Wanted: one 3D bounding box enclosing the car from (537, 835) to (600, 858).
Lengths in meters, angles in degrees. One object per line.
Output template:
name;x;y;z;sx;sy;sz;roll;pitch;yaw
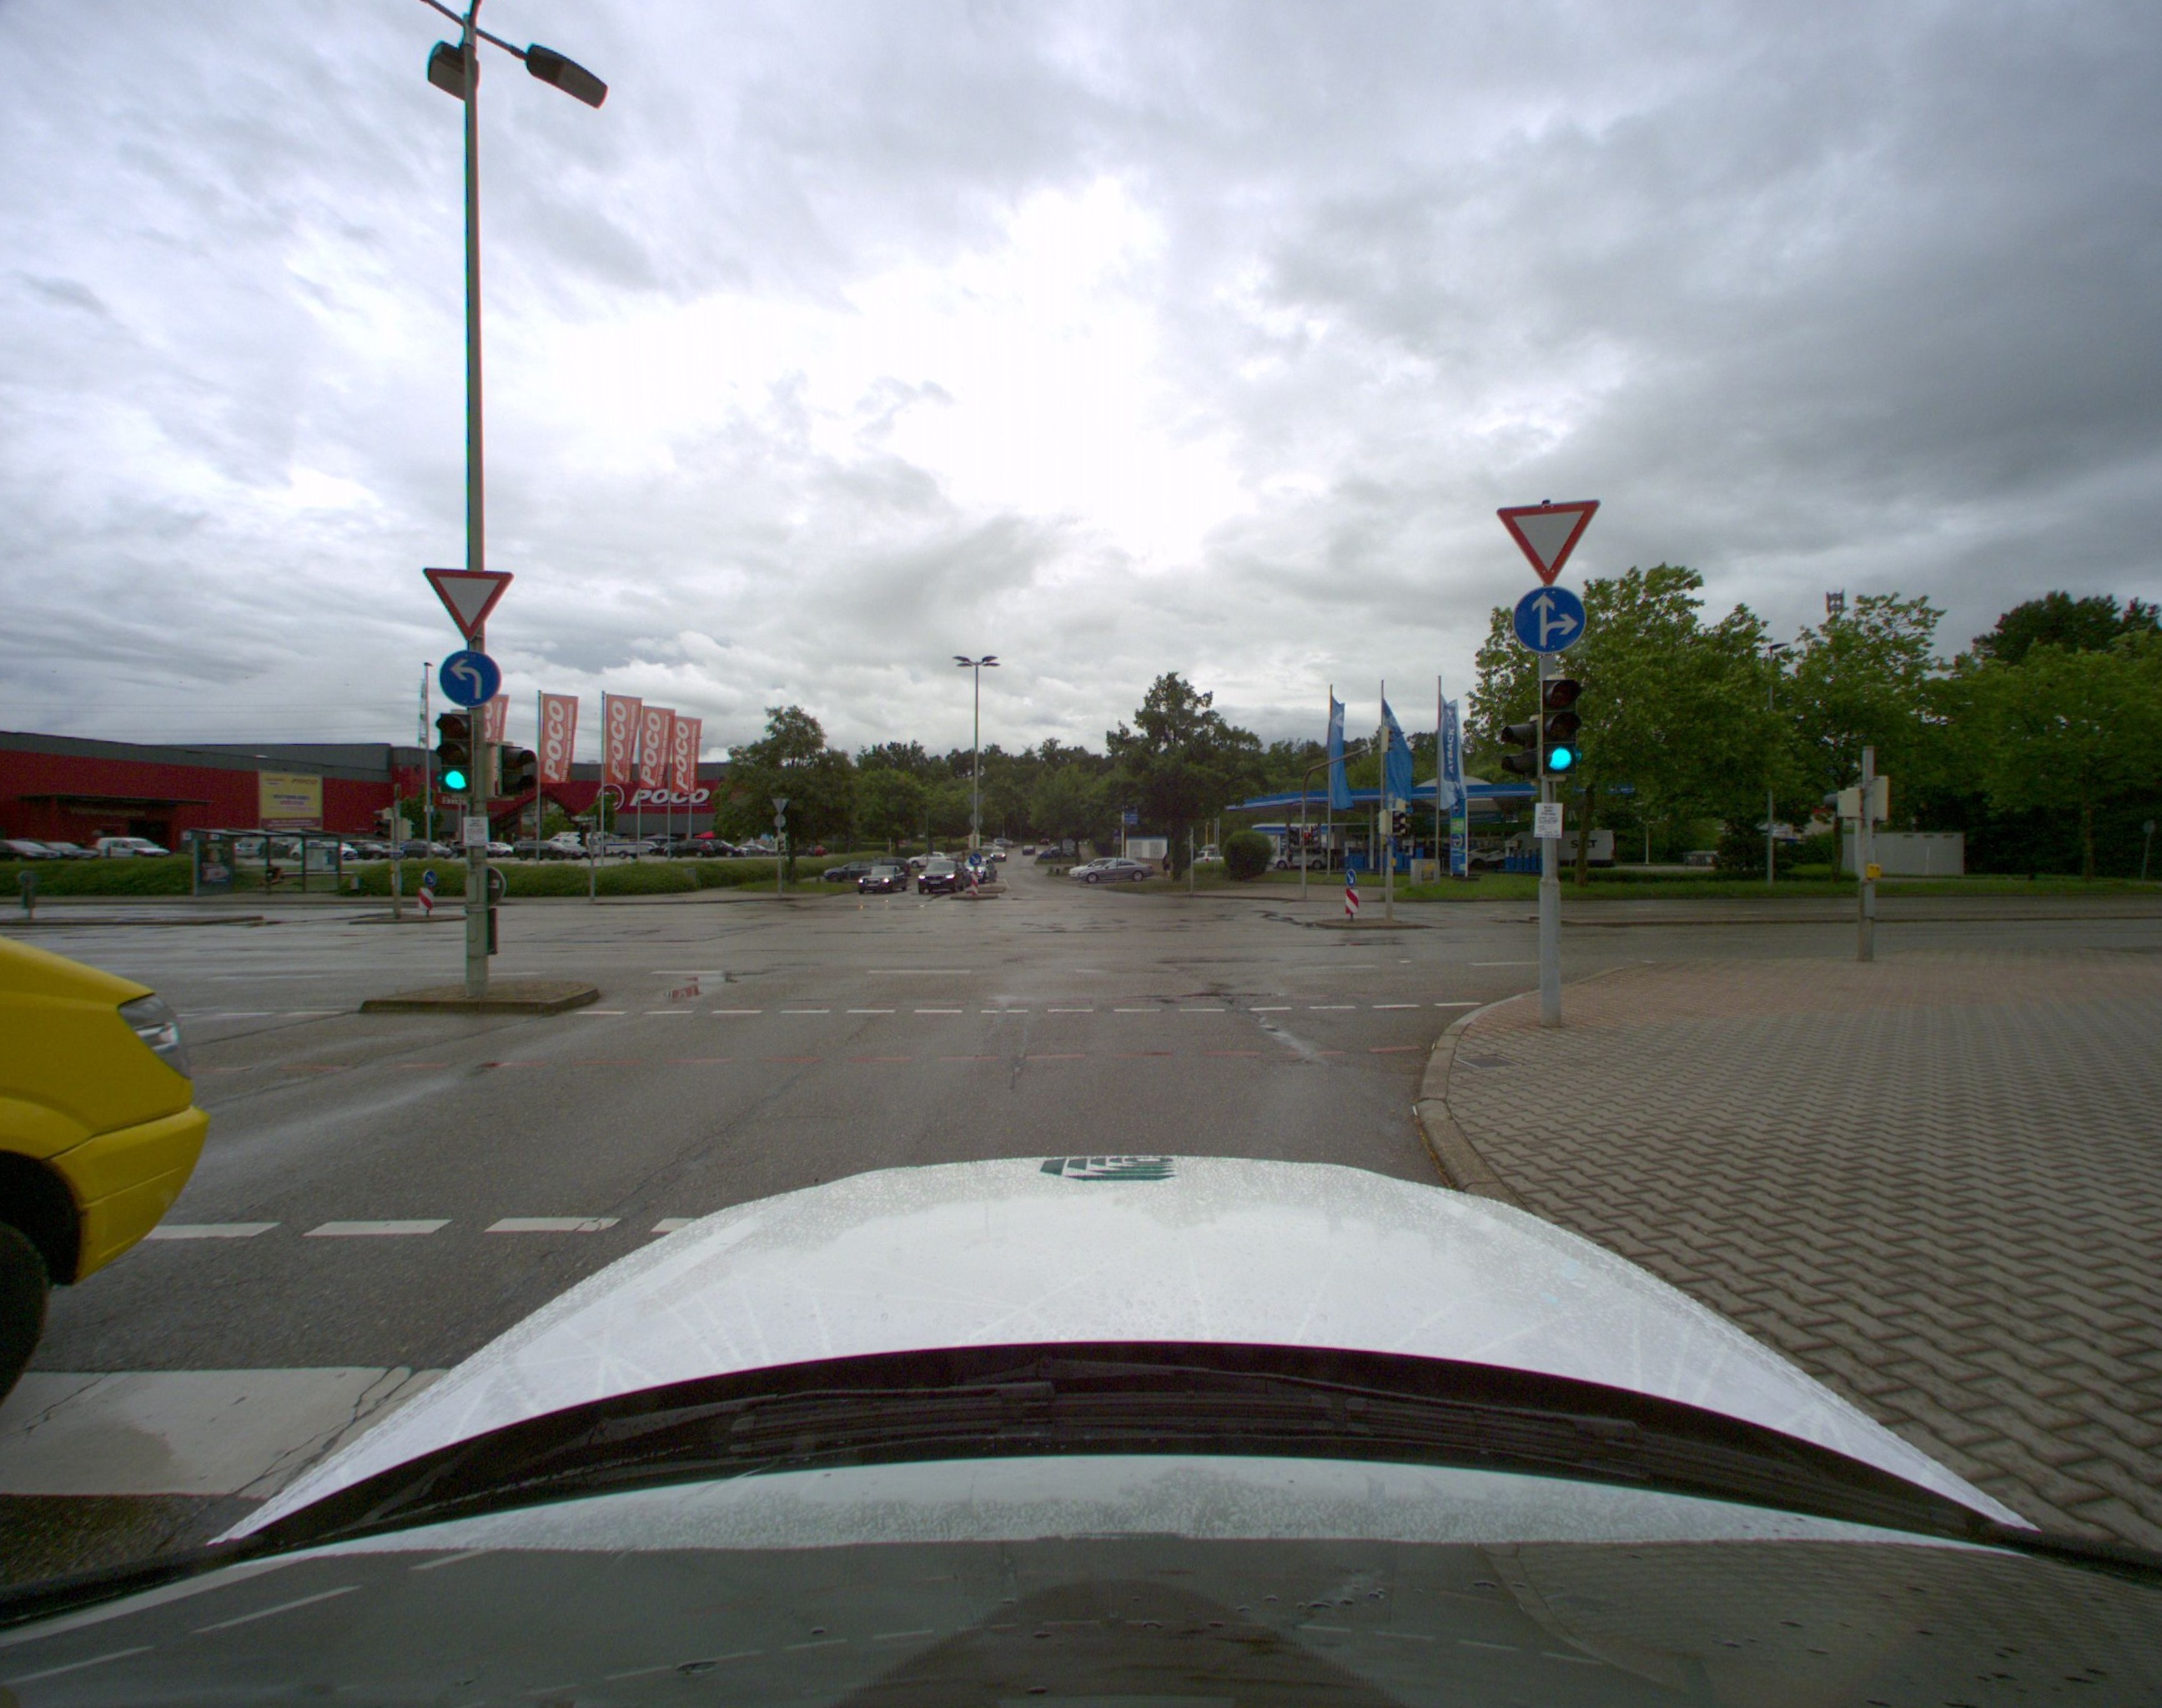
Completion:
car;-39.497;-0.556;62.815;3.798;1.645;1.633;-1;-1;3

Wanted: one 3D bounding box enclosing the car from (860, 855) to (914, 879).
car;-14.397;0.992;60.473;3.643;1.724;1.682;-1;-1;-5

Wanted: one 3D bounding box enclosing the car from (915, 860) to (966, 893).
car;-7.058;1.088;41.406;1.890;1.553;4.589;-1;-1;-1

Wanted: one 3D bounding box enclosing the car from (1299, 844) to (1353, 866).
car;20.210;0.062;67.124;3.949;1.728;1.806;-1;-1;29

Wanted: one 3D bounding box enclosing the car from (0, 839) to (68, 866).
car;-66.660;-0.085;51.207;3.933;1.645;1.699;-1;-1;3

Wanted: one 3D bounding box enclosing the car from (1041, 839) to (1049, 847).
car;-8.087;-2.379;181.997;1.800;1.739;3.996;-1;-1;-3

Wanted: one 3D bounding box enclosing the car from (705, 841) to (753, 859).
car;-33.493;-0.378;77.448;3.798;1.645;1.674;-1;-1;3

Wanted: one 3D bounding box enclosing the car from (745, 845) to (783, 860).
car;-36.712;-0.175;94.342;3.798;1.645;1.674;-1;-1;3

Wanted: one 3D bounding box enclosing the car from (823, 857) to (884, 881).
car;-15.301;1.017;54.877;3.643;1.553;1.682;-1;-1;-5

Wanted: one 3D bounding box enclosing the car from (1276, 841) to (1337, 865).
car;17.362;-0.061;62.720;4.075;1.808;1.958;-1;-1;35

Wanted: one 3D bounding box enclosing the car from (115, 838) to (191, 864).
car;-70.495;-0.202;61.891;3.724;1.926;1.792;-1;-1;1

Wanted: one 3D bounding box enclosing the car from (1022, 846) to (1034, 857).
car;-7.860;-0.366;121.006;1.804;1.482;3.745;-1;-1;-4

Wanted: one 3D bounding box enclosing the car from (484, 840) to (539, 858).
car;-52.924;-0.433;75.757;3.933;1.645;1.674;-1;-1;3

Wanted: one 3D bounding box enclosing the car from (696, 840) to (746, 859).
car;-33.013;-0.414;74.678;3.798;1.645;1.674;-1;-1;3

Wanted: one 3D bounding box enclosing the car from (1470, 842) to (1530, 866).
car;28.981;-0.034;56.388;3.517;1.582;1.700;1;0;33

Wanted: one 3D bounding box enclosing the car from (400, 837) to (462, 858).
car;-54.306;-0.527;68.087;3.933;1.645;1.674;-1;-1;3

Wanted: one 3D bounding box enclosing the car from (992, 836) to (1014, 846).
car;-14.900;-2.466;155.282;3.974;1.794;1.856;-1;-1;-1

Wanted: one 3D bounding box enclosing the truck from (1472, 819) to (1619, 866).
truck;28.844;-0.636;50.956;7.774;2.675;2.168;-2;-1;27

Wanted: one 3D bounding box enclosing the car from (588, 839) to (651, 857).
car;-35.532;-0.453;62.701;3.880;1.381;1.674;-1;-1;3

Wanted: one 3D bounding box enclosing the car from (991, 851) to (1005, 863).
car;-10.091;0.356;99.118;1.694;1.456;3.666;-1;-1;-5

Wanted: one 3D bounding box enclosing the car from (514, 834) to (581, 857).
car;-39.170;-0.595;59.845;3.798;1.645;1.674;-1;-1;3

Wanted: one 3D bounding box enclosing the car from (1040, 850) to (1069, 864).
car;-3.117;0.403;95.871;3.452;1.654;1.614;0;-1;-4

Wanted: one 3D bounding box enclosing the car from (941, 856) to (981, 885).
car;-7.209;1.007;49.262;1.790;1.633;4.549;-1;-1;-1

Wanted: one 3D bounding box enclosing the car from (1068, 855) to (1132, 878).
car;1.381;0.925;59.857;4.565;1.589;1.926;-1;-1;-6

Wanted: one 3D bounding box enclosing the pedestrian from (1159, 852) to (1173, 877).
pedestrian;5.812;0.705;55.655;0.807;1.661;0.885;-1;-1;-6

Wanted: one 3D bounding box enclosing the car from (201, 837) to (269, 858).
car;-69.907;-0.531;67.311;3.933;1.645;1.699;-1;-1;3

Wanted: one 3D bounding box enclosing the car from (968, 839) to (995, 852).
car;-15.210;-1.313;124.731;3.981;1.794;1.853;-1;-1;-5

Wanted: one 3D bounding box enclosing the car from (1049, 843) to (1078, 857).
car;-2.200;-0.496;102.625;3.690;1.750;1.695;0;-1;-4

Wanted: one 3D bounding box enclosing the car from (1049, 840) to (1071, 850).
car;-3.915;-1.589;150.082;3.979;1.739;1.808;-1;-1;-4

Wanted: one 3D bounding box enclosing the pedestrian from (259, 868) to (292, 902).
pedestrian;-34.470;1.308;34.858;0.637;1.432;0.780;-1;-2;-1

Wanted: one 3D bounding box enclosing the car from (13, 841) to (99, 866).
car;-71.122;-0.017;56.524;3.933;1.645;1.699;-1;-1;3

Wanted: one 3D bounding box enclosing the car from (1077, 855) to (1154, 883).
car;2.261;0.976;54.546;4.879;1.548;1.997;-2;2;-6

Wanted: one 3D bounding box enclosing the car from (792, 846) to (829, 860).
car;-32.163;-0.139;96.782;3.798;1.645;1.674;-1;-1;3

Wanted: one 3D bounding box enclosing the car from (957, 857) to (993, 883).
car;-7.009;1.027;54.088;1.890;1.553;3.998;-1;0;-1

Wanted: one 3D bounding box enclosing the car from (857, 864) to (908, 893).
car;-10.476;1.264;43.202;1.778;1.404;3.997;-1;-1;-1

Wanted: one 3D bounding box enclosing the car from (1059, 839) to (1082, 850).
car;-1.889;-1.690;142.605;3.979;1.739;1.808;-1;-1;-4

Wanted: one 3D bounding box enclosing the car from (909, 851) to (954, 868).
car;-14.977;0.555;81.693;4.260;1.609;1.684;-1;-1;-2

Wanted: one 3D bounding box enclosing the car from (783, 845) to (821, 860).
car;-32.194;-0.173;93.995;3.798;1.645;1.674;-1;-1;3

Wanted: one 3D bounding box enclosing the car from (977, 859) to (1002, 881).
car;-7.327;1.273;65.690;1.591;1.696;3.539;0;0;0

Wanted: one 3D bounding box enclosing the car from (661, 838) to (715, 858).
car;-33.572;-0.476;69.690;3.798;1.645;1.674;-1;-1;3

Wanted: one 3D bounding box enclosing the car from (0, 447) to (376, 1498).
car;-3.661;0.273;0.414;2.232;2.474;5.014;-1;-1;0

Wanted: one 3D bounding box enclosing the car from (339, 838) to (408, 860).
car;-54.864;-0.353;63.183;3.933;1.645;1.674;-1;-1;3

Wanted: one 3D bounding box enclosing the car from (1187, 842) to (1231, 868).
car;9.144;0.088;58.321;1.811;1.797;3.681;0;-1;-15

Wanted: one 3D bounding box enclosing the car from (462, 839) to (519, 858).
car;-53.063;-0.465;73.183;3.933;1.645;1.674;-1;-1;3
